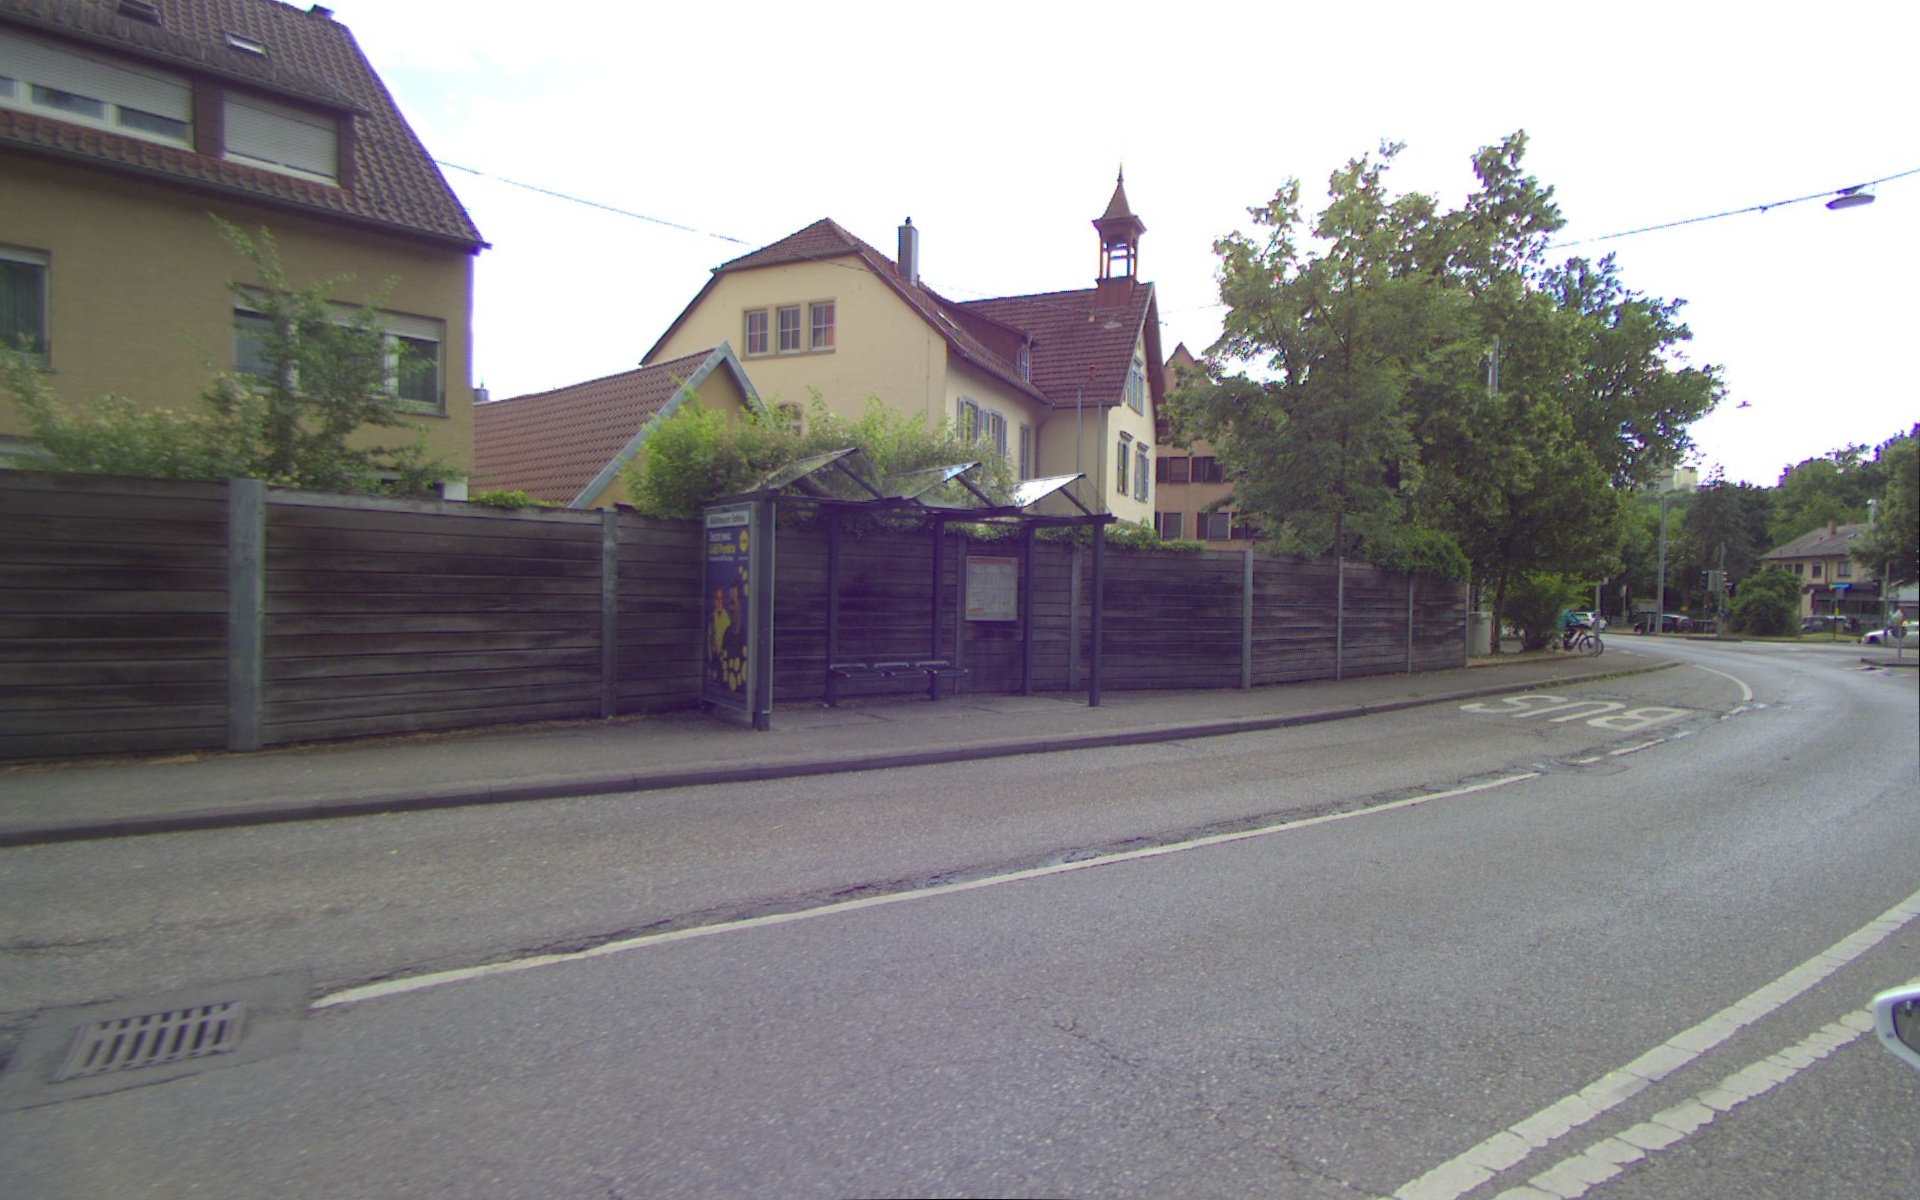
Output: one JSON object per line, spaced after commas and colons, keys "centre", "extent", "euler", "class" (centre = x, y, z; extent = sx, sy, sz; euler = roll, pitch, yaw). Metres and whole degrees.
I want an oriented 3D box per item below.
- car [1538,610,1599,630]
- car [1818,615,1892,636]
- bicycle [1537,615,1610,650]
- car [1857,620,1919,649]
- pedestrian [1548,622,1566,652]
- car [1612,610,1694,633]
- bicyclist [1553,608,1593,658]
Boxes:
{"centre": [50.976, 1.634, 84.205], "extent": [1.971, 1.595, 3.979], "euler": [1, -1, -22], "class": "car"}
{"centre": [69.697, 1.961, 78.284], "extent": [3.922, 1.506, 1.759], "euler": [0, -1, 21], "class": "car"}
{"centre": [20.571, 1.076, 33.747], "extent": [2.040, 1.096, 0.939], "euler": [1, 0, 31], "class": "bicycle"}
{"centre": [52.393, 1.876, 54.975], "extent": [1.967, 1.537, 4.578], "euler": [1, -1, -15], "class": "car"}
{"centre": [44.103, 2.735, 74.254], "extent": [0.762, 2.207, 0.858], "euler": [1, 0, -12], "class": "pedestrian"}
{"centre": [48.224, 1.475, 70.024], "extent": [1.967, 1.537, 4.578], "euler": [1, -1, -15], "class": "car"}
{"centre": [20.569, 1.096, 33.740], "extent": [1.083, 1.621, 0.939], "euler": [2, 0, 31], "class": "bicyclist"}
